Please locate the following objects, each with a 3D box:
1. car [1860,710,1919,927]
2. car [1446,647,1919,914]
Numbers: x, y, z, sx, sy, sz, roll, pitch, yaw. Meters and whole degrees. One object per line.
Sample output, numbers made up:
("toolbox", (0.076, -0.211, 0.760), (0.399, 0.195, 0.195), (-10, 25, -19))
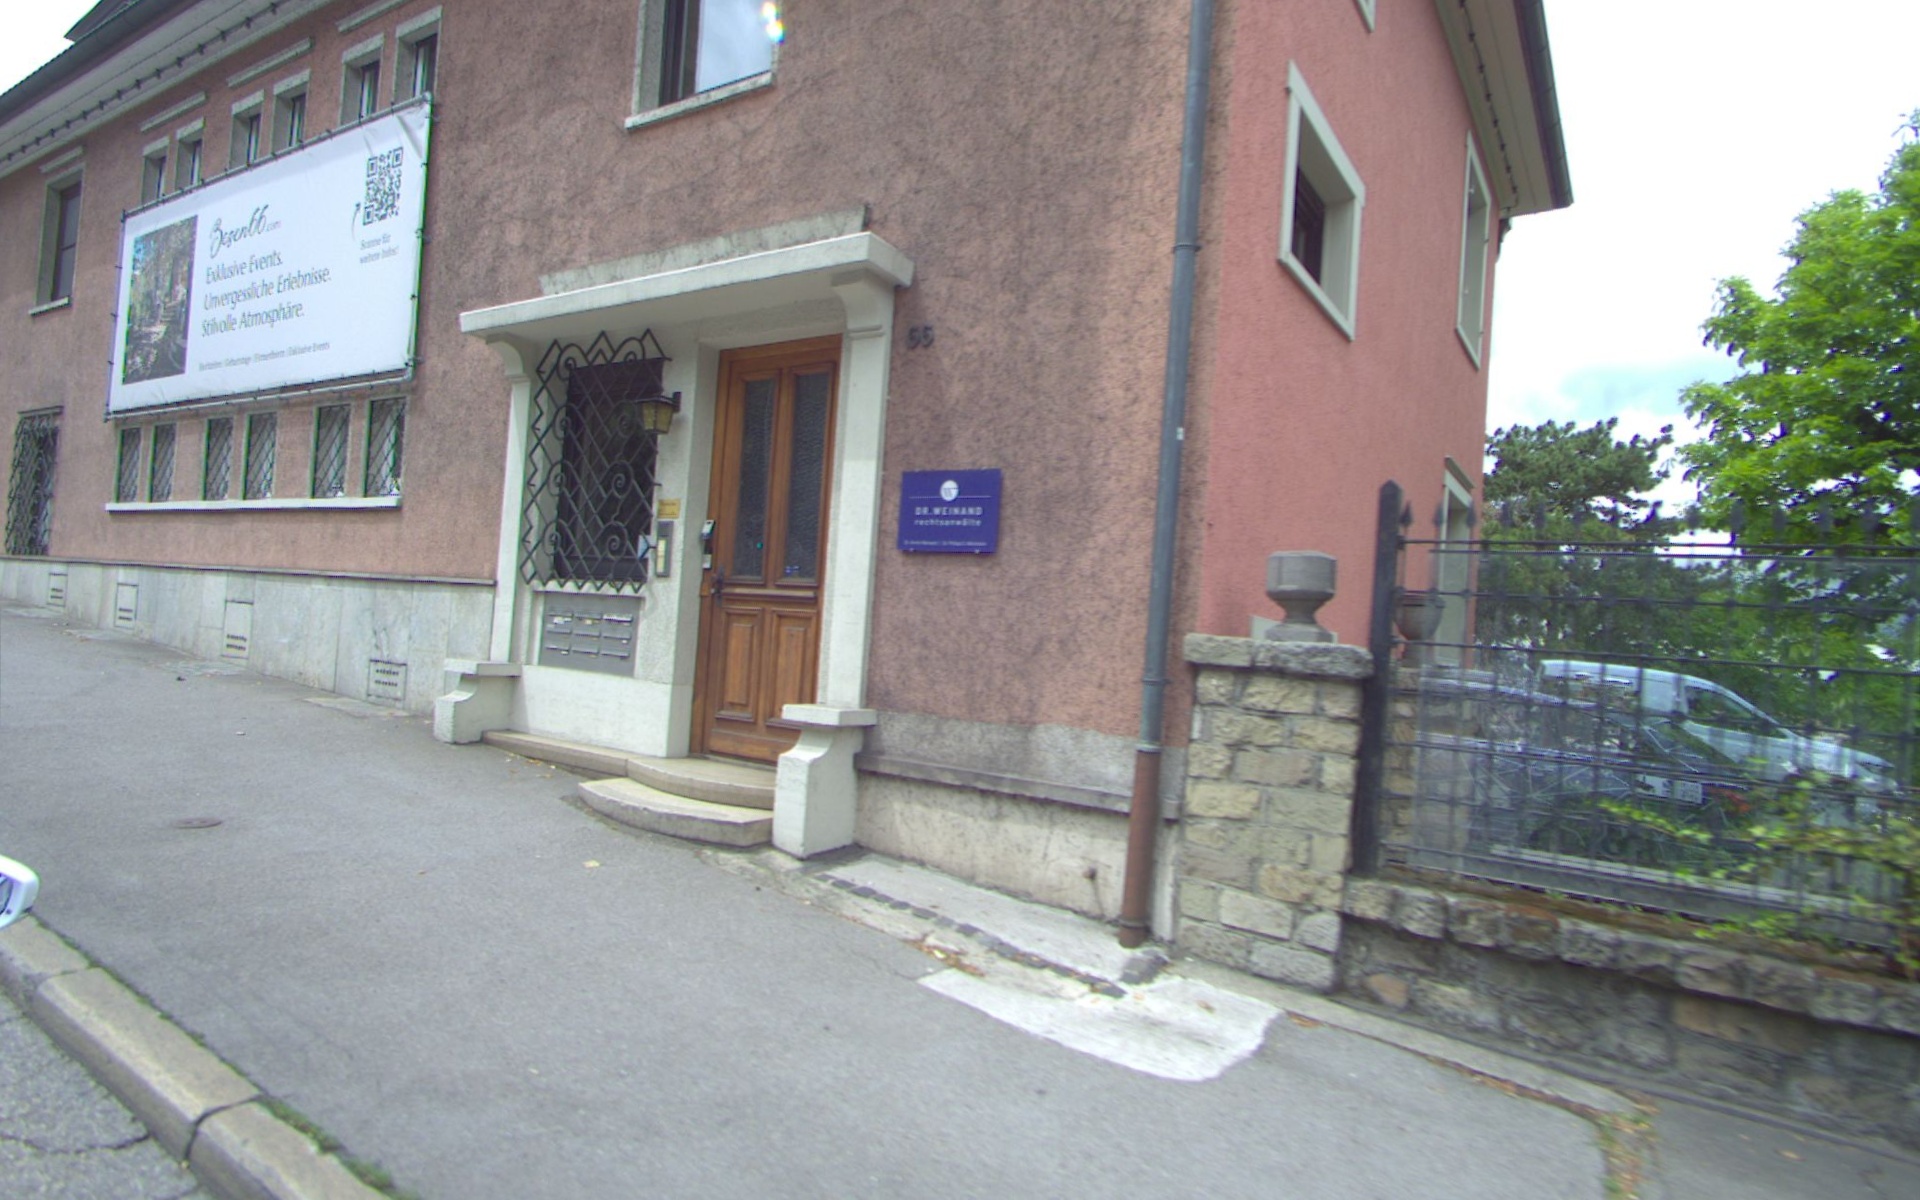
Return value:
("car", (8.944, 1.838, 6.741), (3.936, 1.525, 1.995), (8, 0, 34))
("car", (6.229, 1.468, 9.009), (3.095, 1.702, 1.438), (5, -3, 34))
